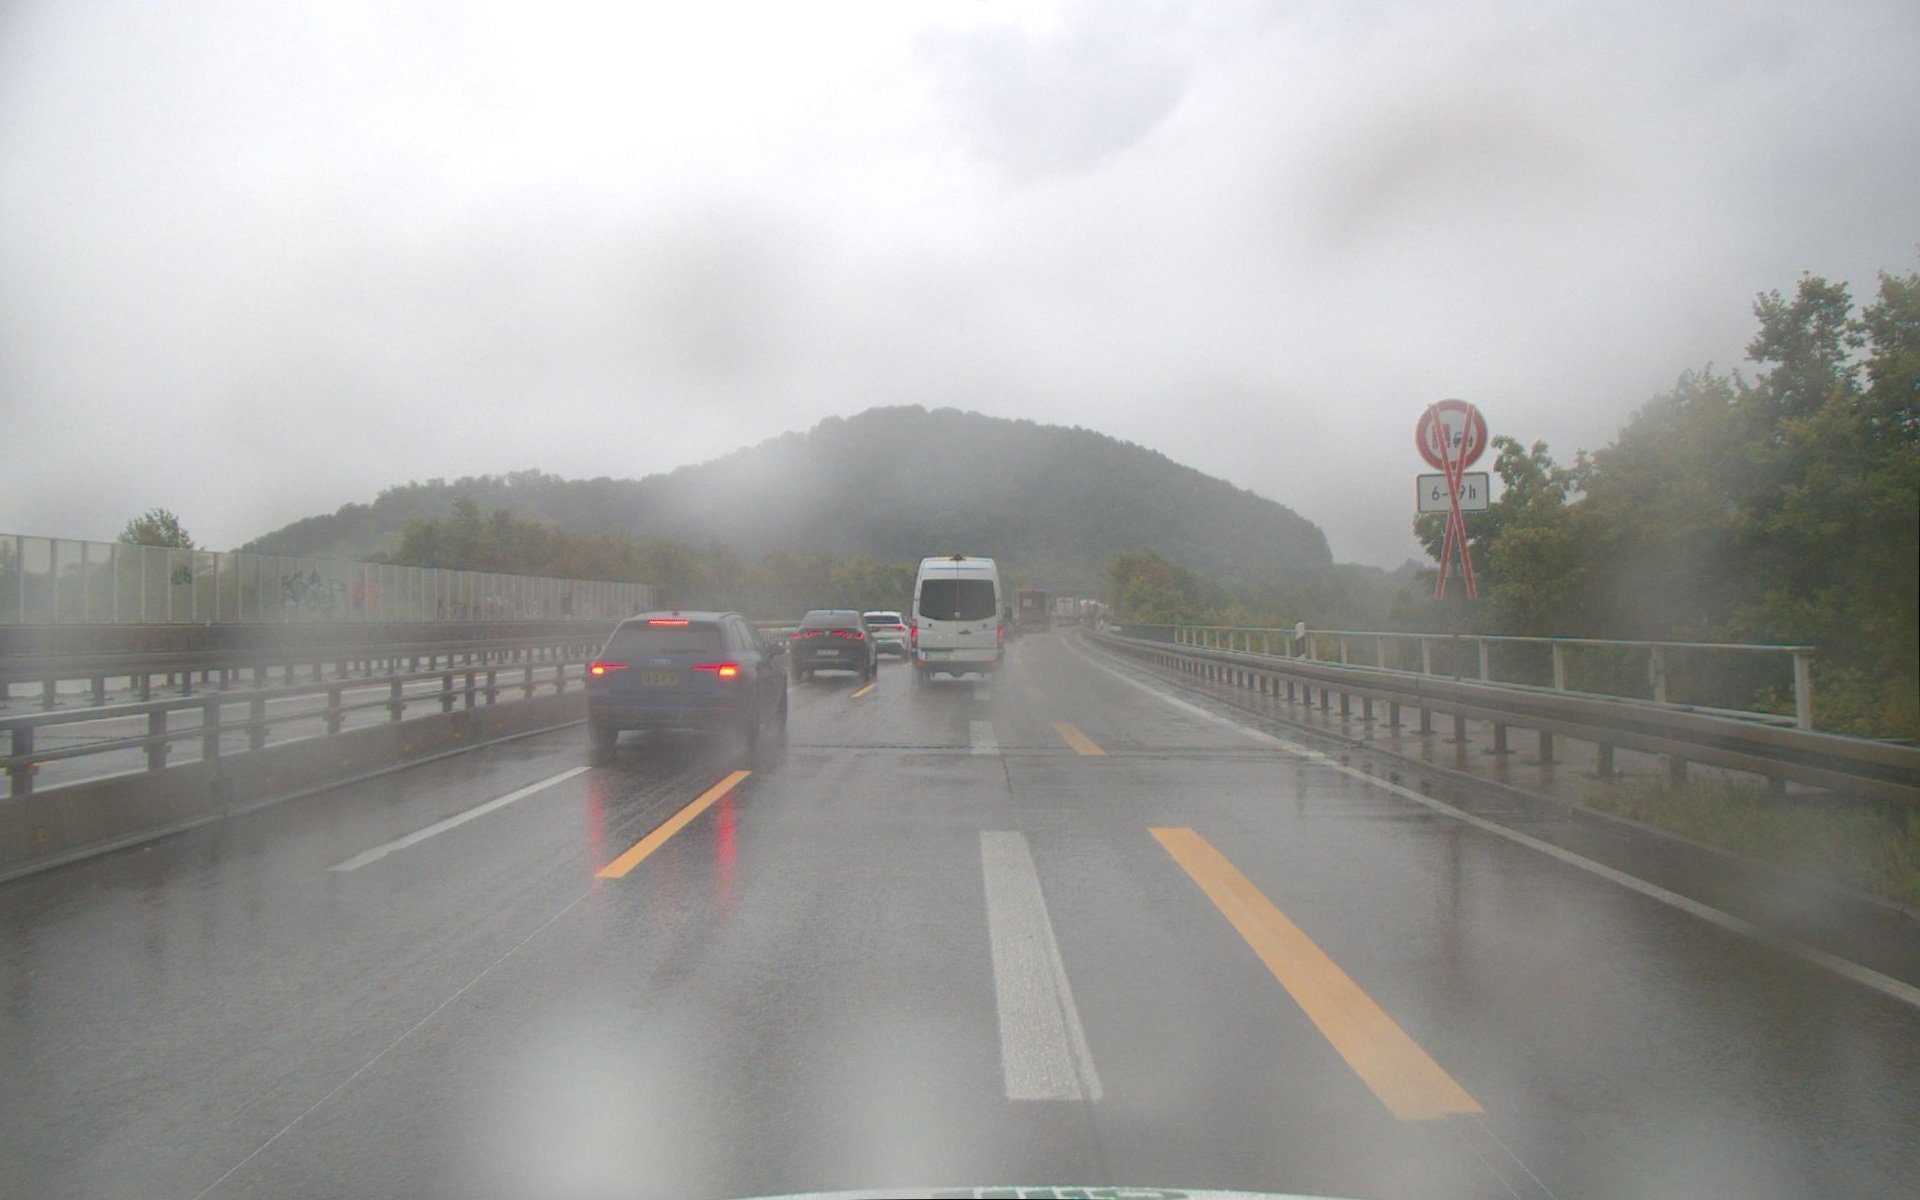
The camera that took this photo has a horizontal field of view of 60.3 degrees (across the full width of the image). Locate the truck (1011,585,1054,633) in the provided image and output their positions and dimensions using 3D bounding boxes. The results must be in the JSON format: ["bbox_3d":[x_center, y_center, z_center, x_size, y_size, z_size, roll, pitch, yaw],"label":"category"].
[{"bbox_3d":[7.223,0.928,162.471,3.505,4.484,9.629,1,-1,6],"label":"truck"}]

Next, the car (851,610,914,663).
[{"bbox_3d":[-2.614,1.203,55.238,1.954,1.646,4.793,1,-1,-3],"label":"car"}]

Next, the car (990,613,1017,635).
[{"bbox_3d":[3.146,1.722,118.641,1.736,1.501,4.001,1,-1,4],"label":"car"}]

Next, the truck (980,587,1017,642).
[{"bbox_3d":[2.368,0.917,100.069,1.952,3.164,8.500,1,-1,3],"label":"truck"}]

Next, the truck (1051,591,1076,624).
[{"bbox_3d":[14.639,1.136,233.289,2.972,4.484,9.629,1,-1,6],"label":"truck"}]

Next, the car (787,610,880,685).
[{"bbox_3d":[-2.892,1.079,38.652,1.953,1.613,4.411,1,-1,-2],"label":"car"}]

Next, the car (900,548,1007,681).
[{"bbox_3d":[-0.089,0.335,35.765,2.101,2.616,5.389,1,-1,1],"label":"car"}]

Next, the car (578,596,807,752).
[{"bbox_3d":[-2.893,0.778,18.908,1.953,1.524,4.629,1,-1,-2],"label":"car"}]
